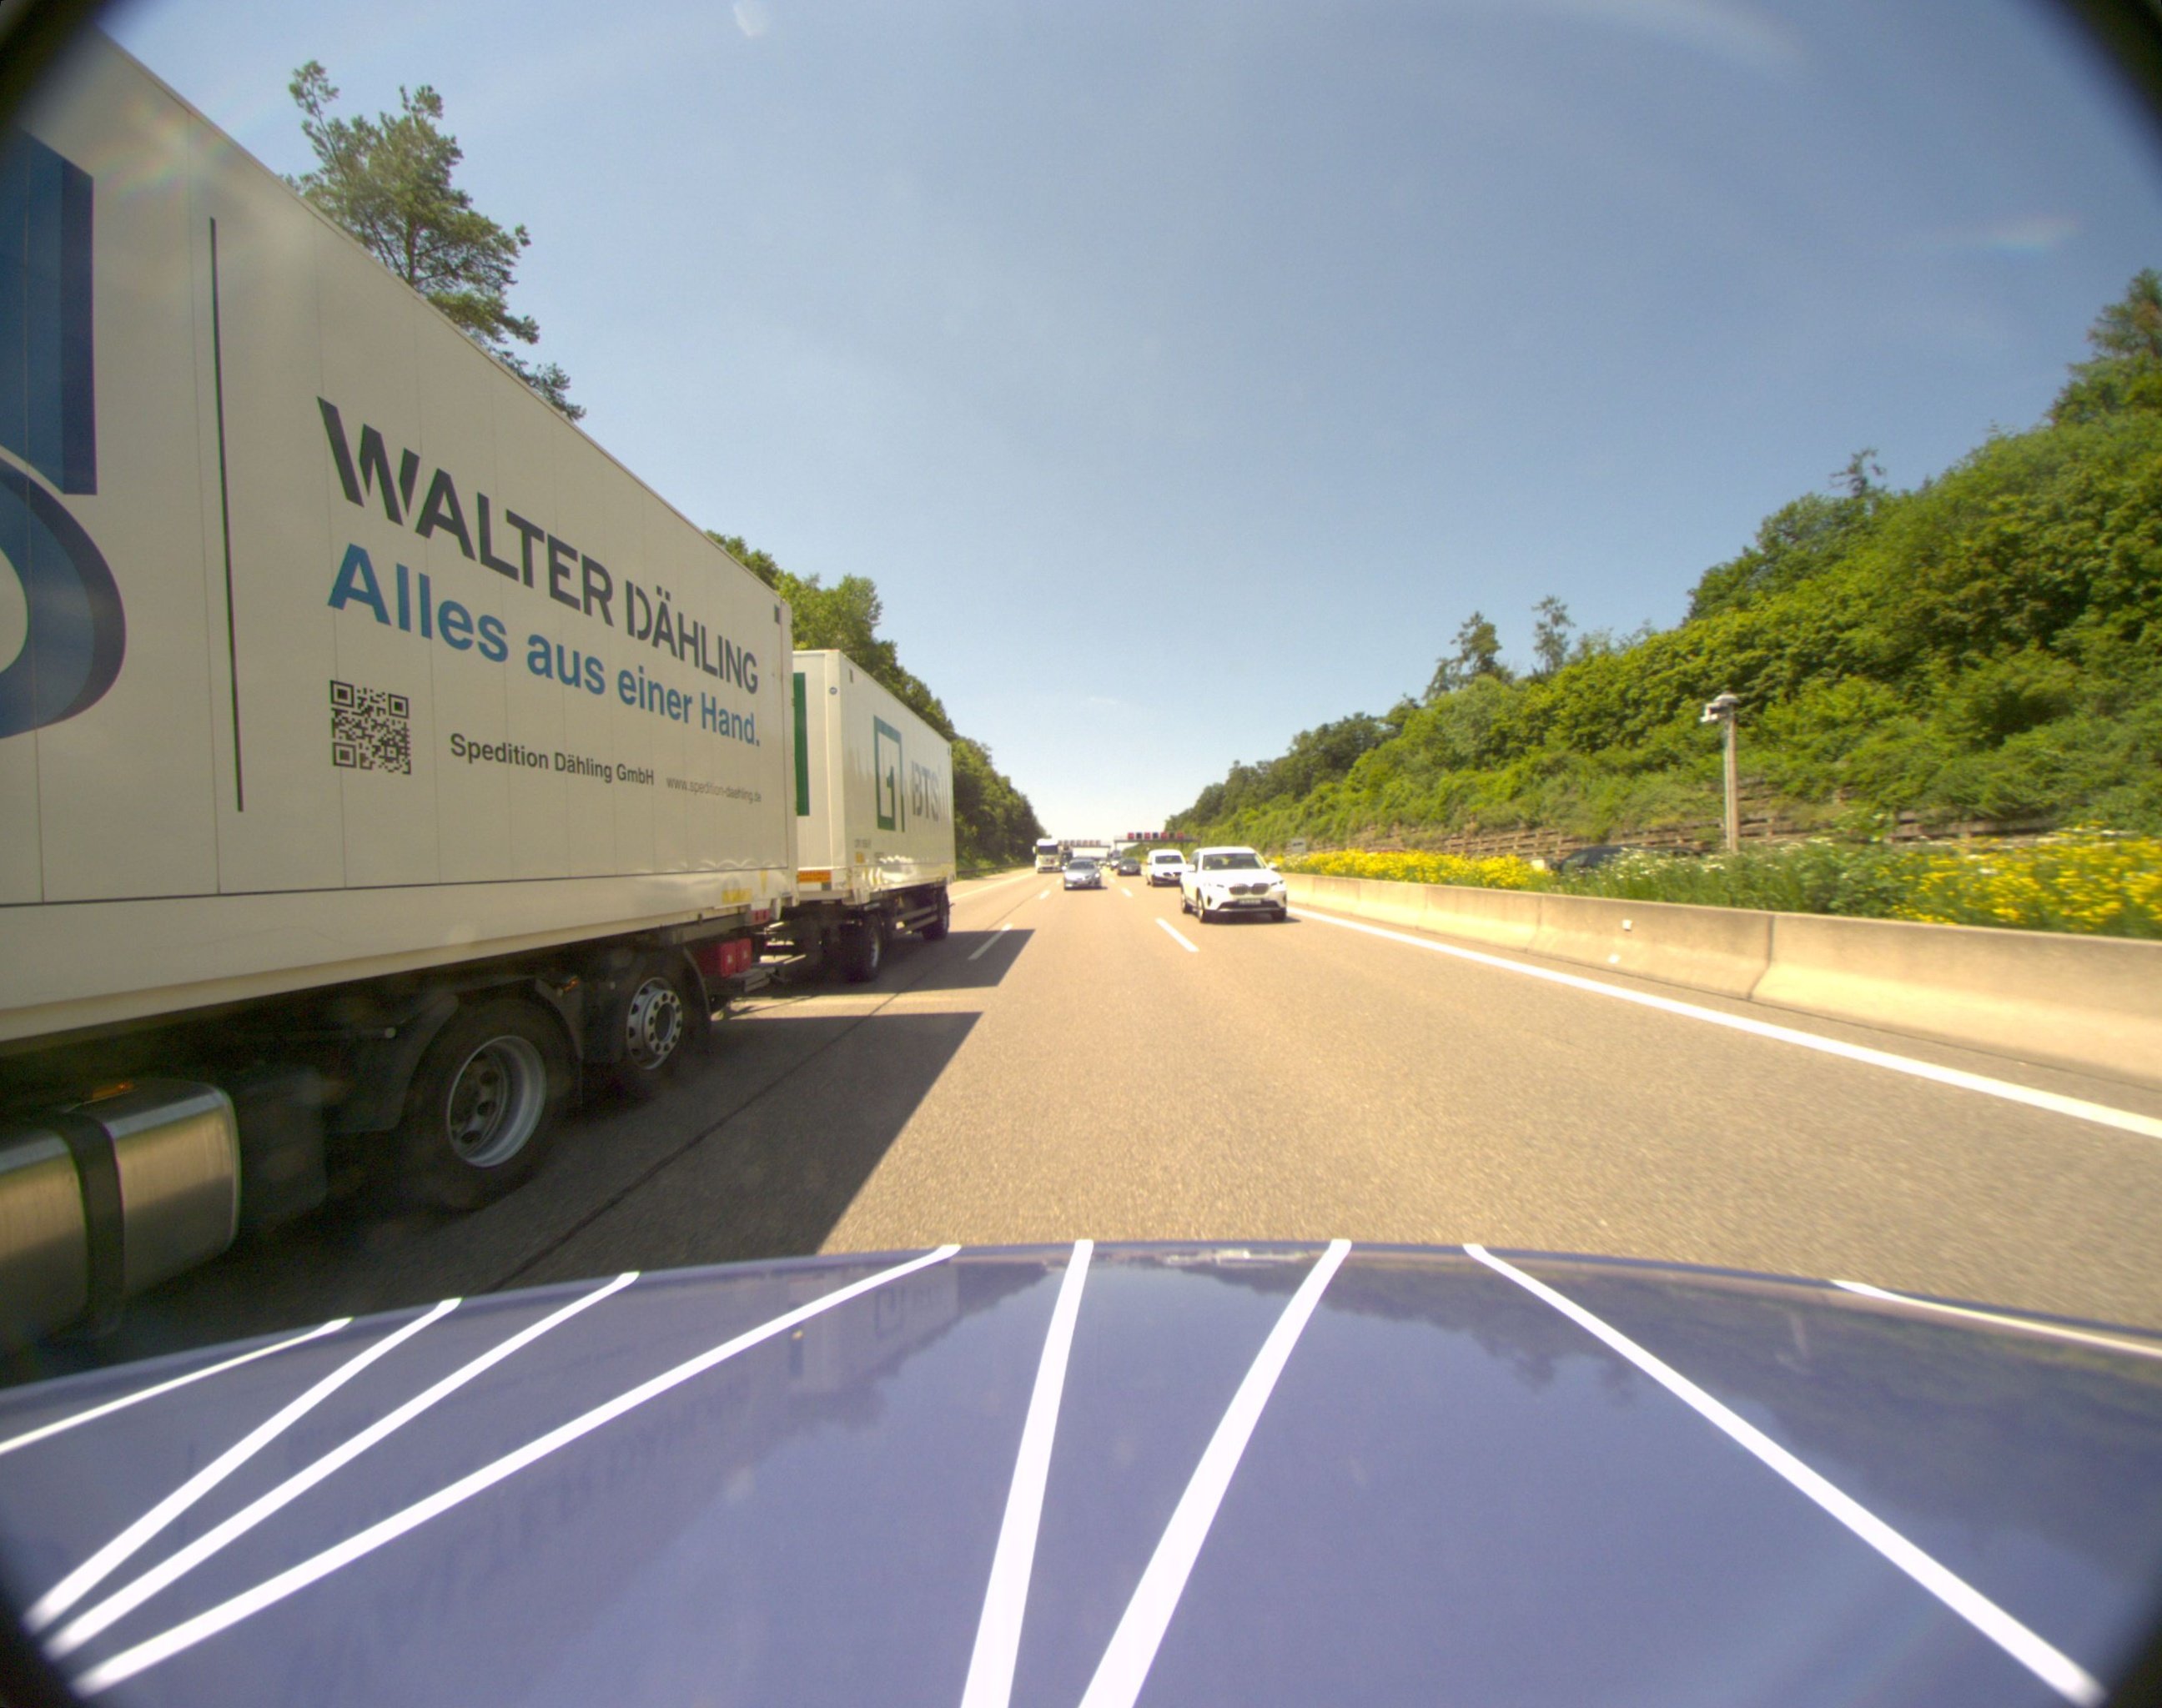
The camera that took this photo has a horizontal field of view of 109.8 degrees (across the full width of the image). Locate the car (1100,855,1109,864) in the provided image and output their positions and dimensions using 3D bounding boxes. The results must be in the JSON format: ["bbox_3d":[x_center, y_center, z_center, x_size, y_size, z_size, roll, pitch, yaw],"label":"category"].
[{"bbox_3d":[4.978,1.194,161.849,1.924,1.848,4.001,-3,-1,2],"label":"car"}]

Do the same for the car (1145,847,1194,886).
[{"bbox_3d":[4.359,0.632,38.091,1.998,1.764,4.502,-3,-1,2],"label":"car"}]

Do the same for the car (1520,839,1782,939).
[{"bbox_3d":[11.447,0.586,15.823,1.854,1.680,4.895,-3,1,2],"label":"car"}]

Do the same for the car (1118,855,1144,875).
[{"bbox_3d":[3.988,0.874,61.574,1.770,1.504,4.726,-3,-1,0],"label":"car"}]

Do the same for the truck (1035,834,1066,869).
[{"bbox_3d":[-3.291,-0.118,85.861,2.844,3.517,13.089,-3,-1,0],"label":"truck"}]

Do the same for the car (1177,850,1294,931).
[{"bbox_3d":[3.503,0.759,18.014,1.850,1.634,4.368,-2,0,0],"label":"car"}]

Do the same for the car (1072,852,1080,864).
[{"bbox_3d":[-1.518,1.210,233.741,1.924,3.522,4.825,-3,-1,2],"label":"car"}]

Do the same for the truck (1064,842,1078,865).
[{"bbox_3d":[-1.970,0.063,155.497,2.627,4.364,13.089,-3,-1,0],"label":"truck"}]

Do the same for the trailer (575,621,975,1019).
[{"bbox_3d":[-3.956,-0.284,13.101,2.687,4.150,10.066,-2,-1,0],"label":"trailer"}]

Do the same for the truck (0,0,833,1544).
[{"bbox_3d":[-4.043,-0.273,2.589,2.686,4.035,10.627,-2,-1,1],"label":"truck"}]

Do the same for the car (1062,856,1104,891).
[{"bbox_3d":[0.168,0.918,37.237,1.843,1.517,4.502,-3,-1,2],"label":"car"}]

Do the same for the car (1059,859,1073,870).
[{"bbox_3d":[-2.157,1.509,110.772,1.770,1.504,4.000,-3,-1,0],"label":"car"}]

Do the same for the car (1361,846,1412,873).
[{"bbox_3d":[22.641,0.388,56.487,1.998,1.797,4.654,-3,1,2],"label":"car"}]

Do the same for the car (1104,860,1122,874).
[{"bbox_3d":[3.539,1.452,84.313,1.770,1.504,4.000,-3,-1,0],"label":"car"}]

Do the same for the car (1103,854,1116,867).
[{"bbox_3d":[4.323,1.030,115.380,1.924,1.848,4.001,-3,-1,2],"label":"car"}]
